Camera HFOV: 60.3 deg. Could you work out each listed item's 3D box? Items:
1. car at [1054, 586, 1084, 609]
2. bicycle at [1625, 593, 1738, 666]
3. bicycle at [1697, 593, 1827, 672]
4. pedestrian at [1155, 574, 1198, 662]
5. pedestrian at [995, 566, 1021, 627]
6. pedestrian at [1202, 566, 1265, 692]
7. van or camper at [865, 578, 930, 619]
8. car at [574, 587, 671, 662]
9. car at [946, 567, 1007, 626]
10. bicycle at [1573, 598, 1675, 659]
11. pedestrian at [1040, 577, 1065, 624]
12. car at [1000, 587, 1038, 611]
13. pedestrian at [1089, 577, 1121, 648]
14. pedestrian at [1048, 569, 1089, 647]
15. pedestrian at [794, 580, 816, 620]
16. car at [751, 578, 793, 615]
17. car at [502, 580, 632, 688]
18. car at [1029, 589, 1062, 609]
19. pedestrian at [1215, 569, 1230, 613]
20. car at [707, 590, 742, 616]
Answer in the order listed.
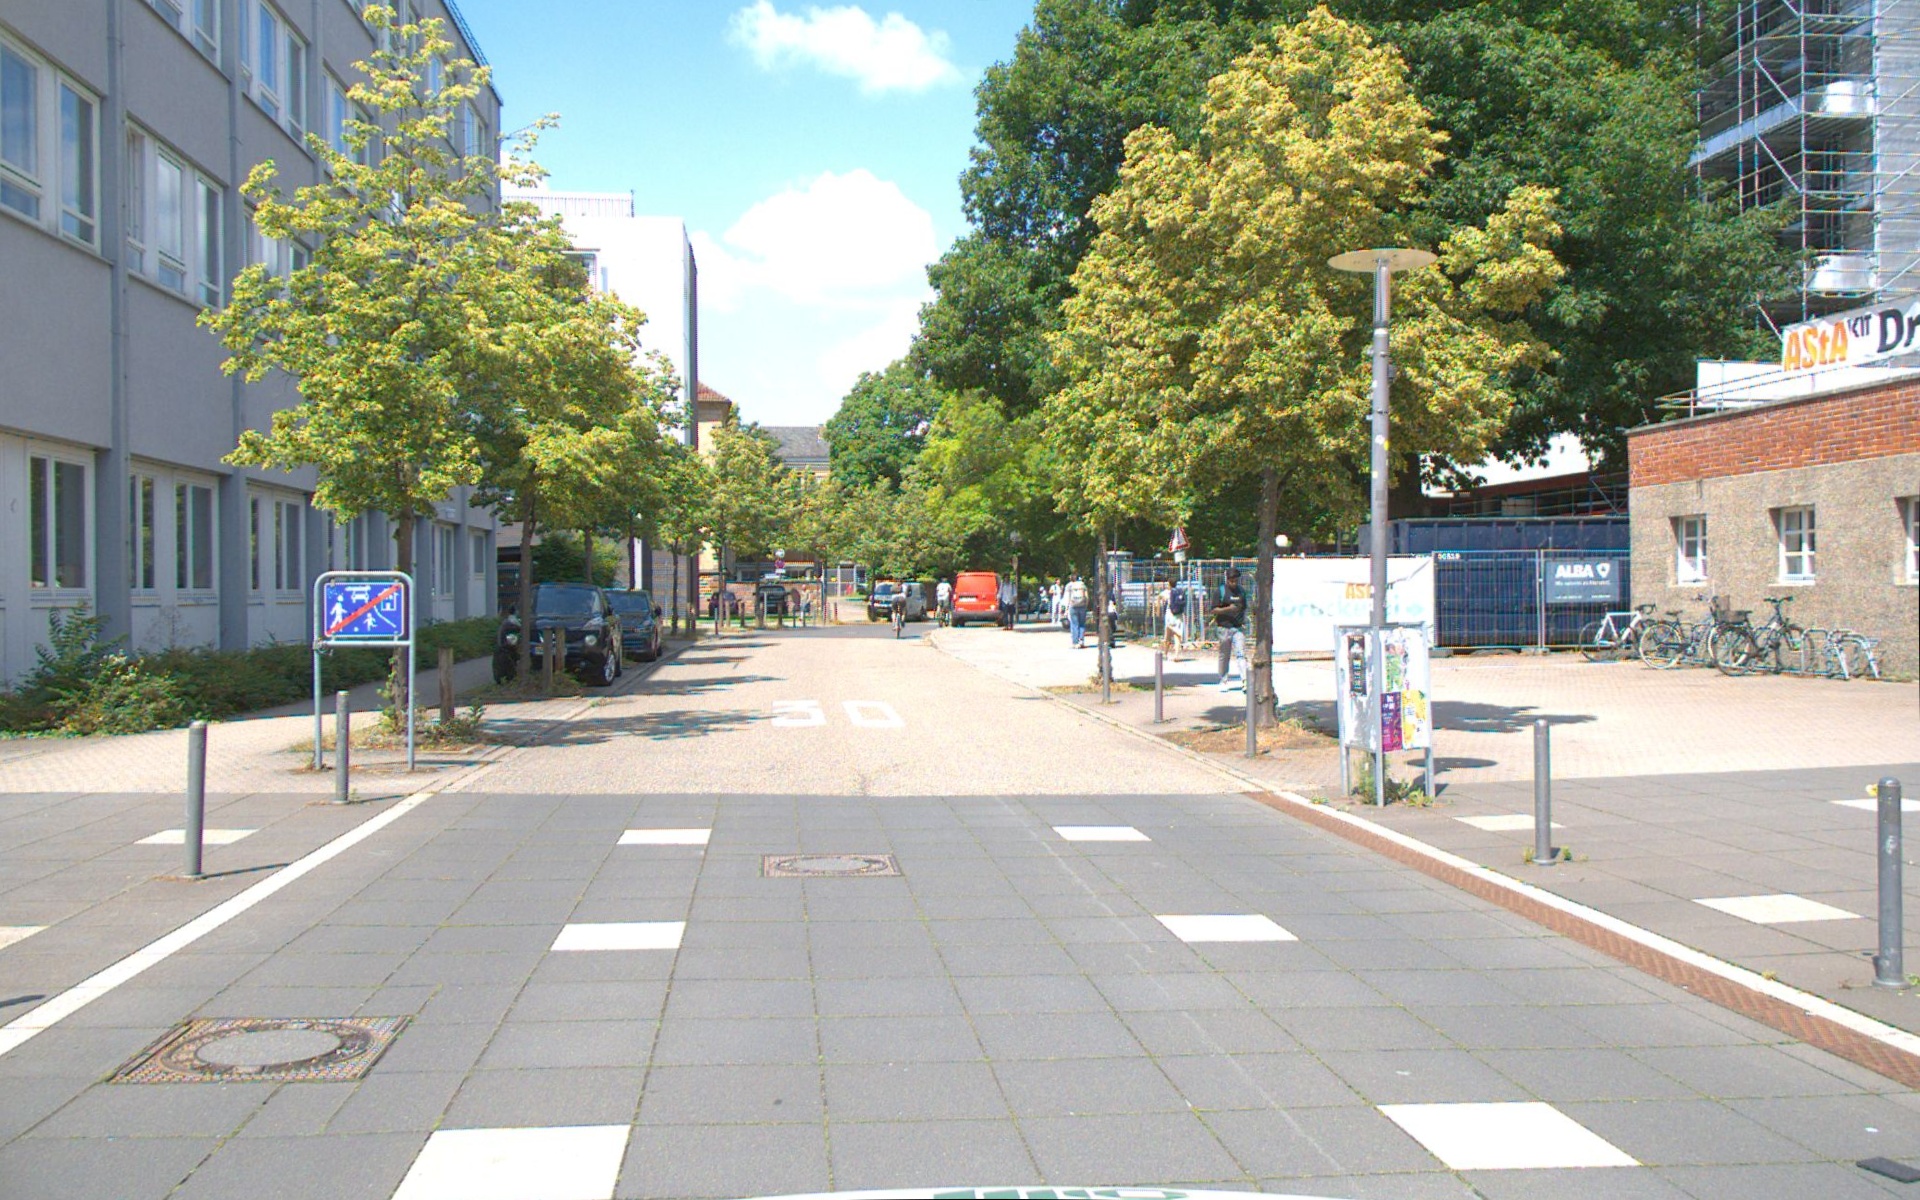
[{"bbox_3d":[8.236,-0.217,125.052,1.581,1.708,4.003,-1,0,14],"label":"car"},{"bbox_3d":[11.544,0.467,26.472,1.669,1.129,0.447,-1,0,-7],"label":"bicycle"},{"bbox_3d":[11.845,0.473,24.437,1.771,1.129,0.447,-1,0,-7],"label":"bicycle"},{"bbox_3d":[4.246,0.338,32.459,0.636,1.695,0.903,-1,0,-5],"label":"pedestrian"},{"bbox_3d":[1.456,-0.111,49.909,0.680,1.812,0.787,-1,0,6],"label":"pedestrian"},{"bbox_3d":[3.841,0.398,23.254,0.630,1.726,0.790,-1,0,-12],"label":"pedestrian"},{"bbox_3d":[-3.115,-0.093,83.527,1.912,1.957,5.425,1,0,13],"label":"van or camper"},{"bbox_3d":[-7.109,0.471,35.169,1.745,1.486,4.251,1,0,-8],"label":"car"},{"bbox_3d":[0.616,-0.126,56.968,1.809,1.924,4.892,-1,0,3],"label":"car"},{"bbox_3d":[11.574,0.495,28.843,1.639,1.021,0.447,-1,0,-7],"label":"bicycle"},{"bbox_3d":[3.616,0.017,64.681,0.717,1.853,0.620,0,0,-42],"label":"pedestrian"},{"bbox_3d":[3.913,-0.054,109.296,1.722,1.548,4.115,-1,0,14],"label":"car"},{"bbox_3d":[3.357,0.283,38.363,0.654,1.628,0.985,-1,0,2],"label":"pedestrian"},{"bbox_3d":[2.524,0.181,38.483,0.833,1.794,0.715,-1,0,-4],"label":"pedestrian"},{"bbox_3d":[-7.160,-0.007,76.425,0.572,1.795,0.911,-1,0,25],"label":"pedestrian"},{"bbox_3d":[-10.370,-0.176,90.965,2.134,1.959,5.176,-1,0,-8],"label":"car"},{"bbox_3d":[-6.263,0.484,26.714,1.665,1.591,4.060,-1,0,-8],"label":"car"},{"bbox_3d":[6.043,-0.071,116.639,1.581,1.412,4.003,-1,0,14],"label":"car"},{"bbox_3d":[11.255,-0.379,70.950,0.532,1.869,0.762,-1,0,0],"label":"pedestrian"},{"bbox_3d":[-12.858,0.160,90.472,1.783,1.347,3.761,-1,0,-7],"label":"car"}]
